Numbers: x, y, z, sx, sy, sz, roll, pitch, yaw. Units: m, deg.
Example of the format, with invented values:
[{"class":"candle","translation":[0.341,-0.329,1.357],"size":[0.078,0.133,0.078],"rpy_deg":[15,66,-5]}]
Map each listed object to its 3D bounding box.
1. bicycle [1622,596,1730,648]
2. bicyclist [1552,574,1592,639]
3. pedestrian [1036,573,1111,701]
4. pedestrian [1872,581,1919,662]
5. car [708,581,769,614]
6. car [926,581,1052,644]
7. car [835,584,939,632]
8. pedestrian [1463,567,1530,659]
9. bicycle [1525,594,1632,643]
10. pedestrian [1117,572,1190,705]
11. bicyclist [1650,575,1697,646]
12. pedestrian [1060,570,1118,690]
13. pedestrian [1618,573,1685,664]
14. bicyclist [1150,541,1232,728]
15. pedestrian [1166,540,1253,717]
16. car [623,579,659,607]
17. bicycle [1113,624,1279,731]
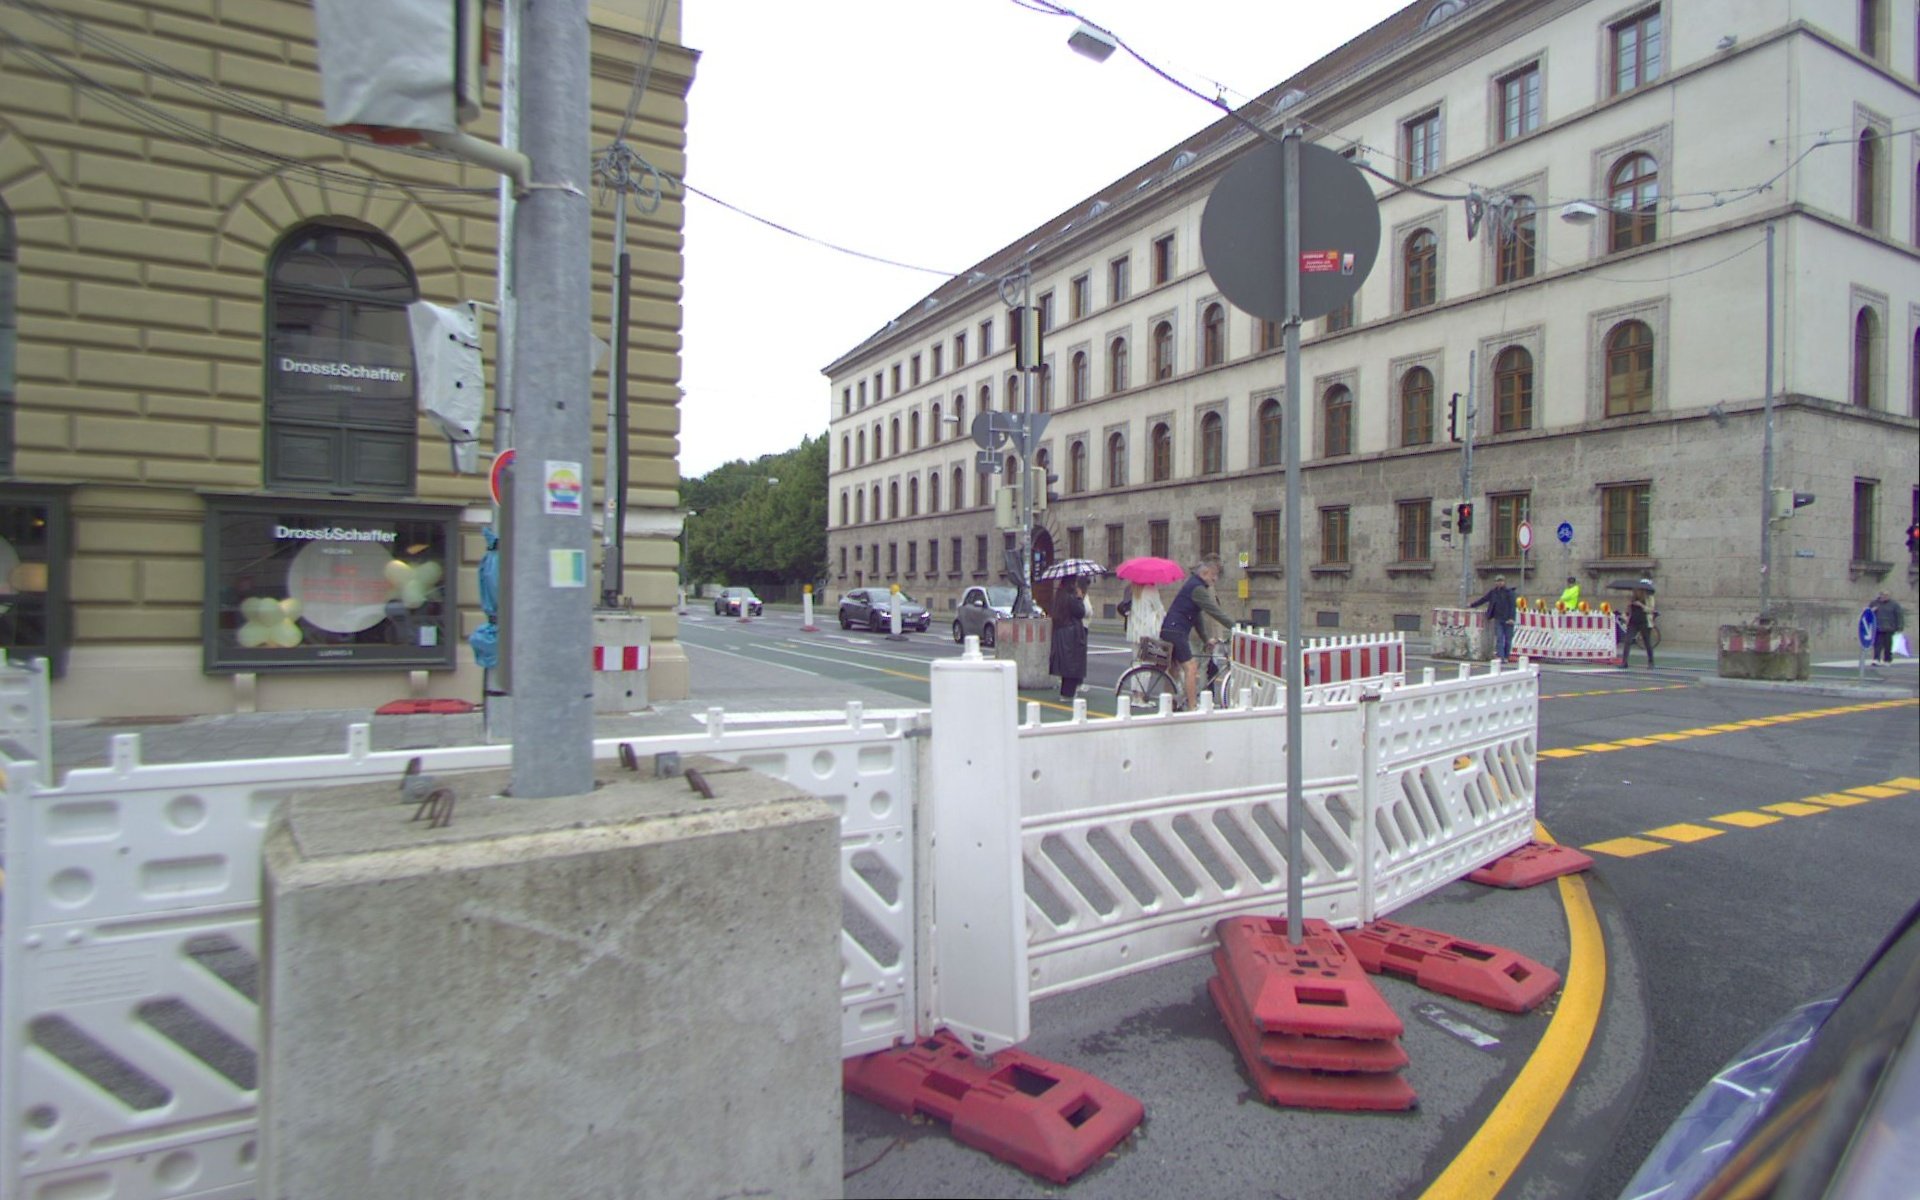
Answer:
[{"class":"bicycle","translation":[18.384,0.530,26.058],"size":[0.773,1.258,2.203],"rpy_deg":[-1,1,-23]},{"class":"bicyclist","translation":[17.108,0.173,28.276],"size":[0.785,1.770,0.689],"rpy_deg":[-1,0,-34]},{"class":"pedestrian","translation":[1.462,0.454,13.060],"size":[0.690,1.587,0.683],"rpy_deg":[-1,0,-25]},{"class":"pedestrian","translation":[20.185,0.442,21.686],"size":[0.713,1.674,0.740],"rpy_deg":[0,3,-34]},{"class":"car","translation":[-11.355,-0.146,51.618],"size":[1.959,1.577,4.394],"rpy_deg":[0,1,-27]},{"class":"car","translation":[0.686,0.272,26.808],"size":[1.601,1.522,4.006],"rpy_deg":[0,1,-27]},{"class":"car","translation":[-2.521,0.217,33.804],"size":[1.884,1.459,4.312],"rpy_deg":[-2,1,-27]},{"class":"pedestrian","translation":[10.546,0.237,19.907],"size":[0.504,1.765,1.043],"rpy_deg":[0,0,-37]},{"class":"bicycle","translation":[17.175,0.486,28.187],"size":[0.774,1.258,2.449],"rpy_deg":[-1,1,-34]},{"class":"pedestrian","translation":[2.376,0.453,12.450],"size":[0.690,1.587,0.542],"rpy_deg":[-1,0,-25]},{"class":"bicyclist","translation":[18.376,0.260,26.065],"size":[0.784,1.798,0.690],"rpy_deg":[-1,0,-23]},{"class":"pedestrian","translation":[1.813,0.406,14.315],"size":[0.522,1.640,0.675],"rpy_deg":[-1,0,-25]},{"class":"pedestrian","translation":[14.030,0.361,20.545],"size":[0.829,1.794,0.741],"rpy_deg":[-1,0,-15]},{"class":"bicyclist","translation":[2.405,0.347,10.518],"size":[0.788,1.877,0.565],"rpy_deg":[-1,0,15]},{"class":"pedestrian","translation":[2.793,0.299,11.348],"size":[0.690,1.908,0.642],"rpy_deg":[-1,0,-22]},{"class":"car","translation":[-24.220,-0.513,76.745],"size":[1.959,2.039,4.006],"rpy_deg":[1,0,-27]},{"class":"bicycle","translation":[2.441,0.778,10.515],"size":[1.633,1.024,0.584],"rpy_deg":[0,1,16]}]
